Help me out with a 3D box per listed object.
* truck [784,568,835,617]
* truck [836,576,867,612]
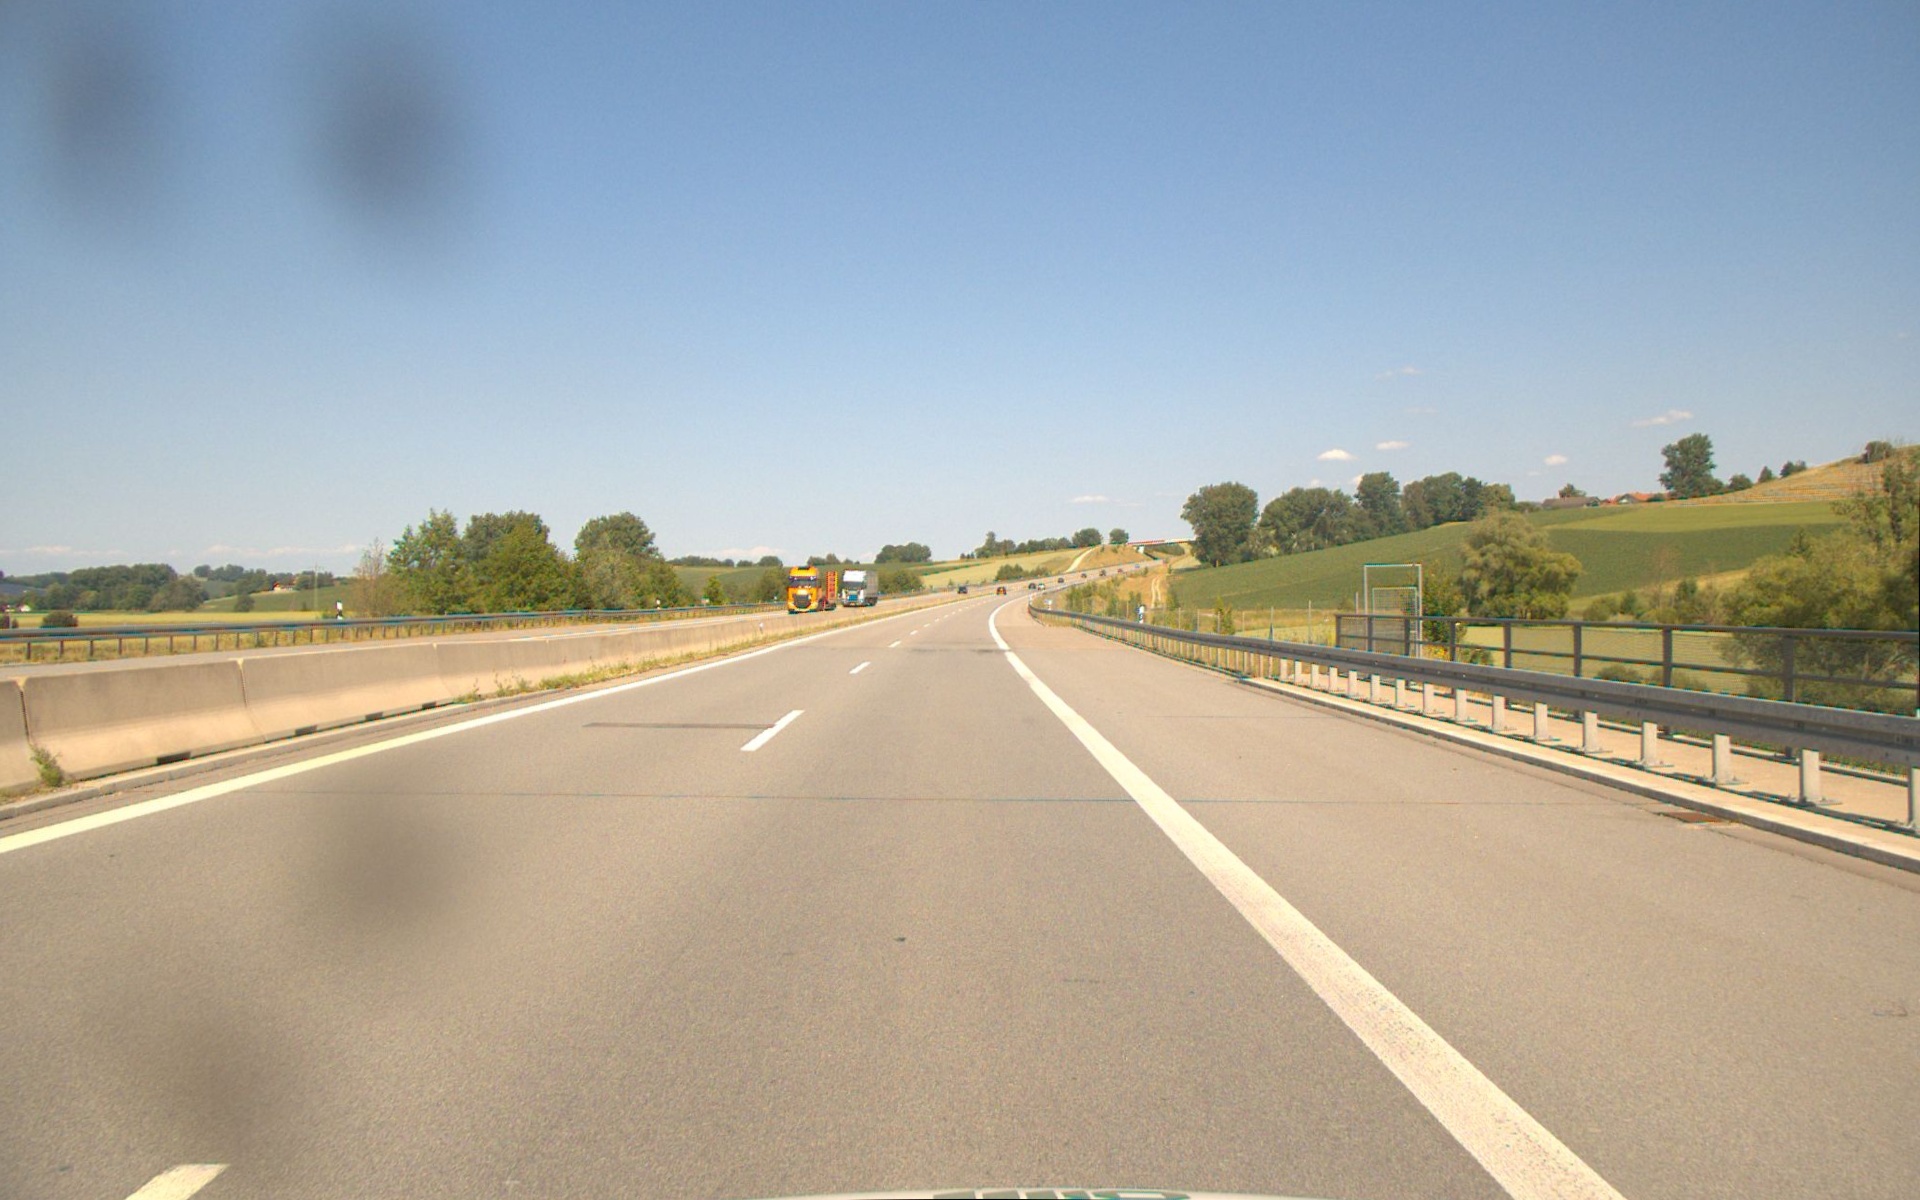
[{"bbox_3d":[-13.087,-0.631,145.361,2.809,4.086,17.116,0,0,1],"label":"truck"},{"bbox_3d":[-12.109,-0.713,185.086,2.802,3.941,5.984,-1,0,1],"label":"truck"}]
